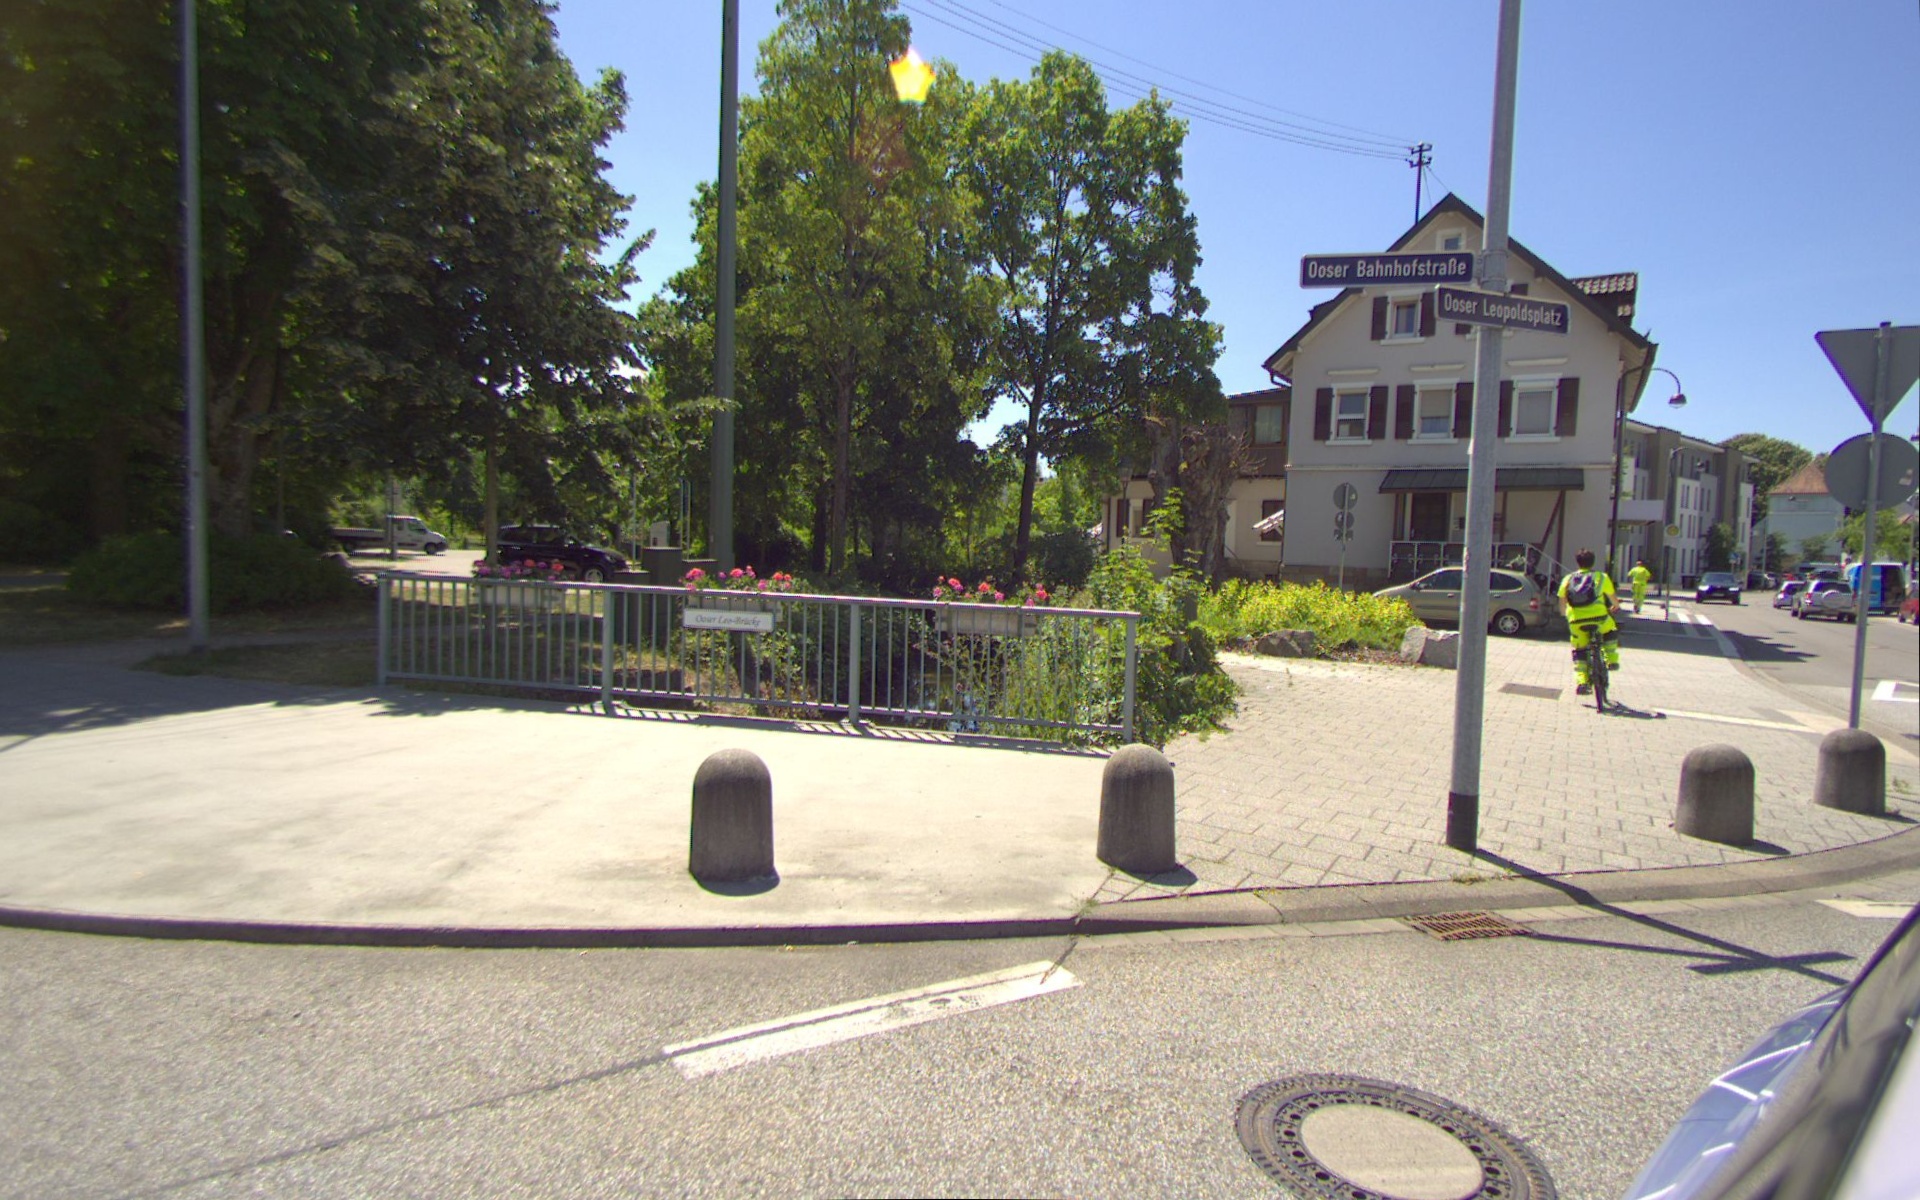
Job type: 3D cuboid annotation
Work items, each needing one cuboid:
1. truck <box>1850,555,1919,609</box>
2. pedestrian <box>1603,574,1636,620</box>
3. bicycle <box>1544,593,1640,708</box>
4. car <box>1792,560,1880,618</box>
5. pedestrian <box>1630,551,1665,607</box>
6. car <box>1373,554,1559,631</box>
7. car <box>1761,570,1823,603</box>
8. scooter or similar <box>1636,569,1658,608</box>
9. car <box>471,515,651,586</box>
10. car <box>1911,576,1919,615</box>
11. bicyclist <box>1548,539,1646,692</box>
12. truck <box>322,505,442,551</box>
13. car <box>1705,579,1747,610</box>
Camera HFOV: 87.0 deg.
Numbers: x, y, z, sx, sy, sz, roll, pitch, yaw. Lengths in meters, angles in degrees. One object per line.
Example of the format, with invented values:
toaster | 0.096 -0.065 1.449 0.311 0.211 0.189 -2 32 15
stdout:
truck | 43.164 -0.899 47.209 1.950 2.399 4.283 2 3 35
pedestrian | 19.297 -0.097 29.621 0.679 1.301 0.575 4 3 29
bicycle | 7.519 0.546 12.015 0.805 1.169 1.830 6 4 33
car | 35.981 -0.511 41.697 1.918 2.132 4.400 6 5 32
pedestrian | 25.838 -0.802 38.053 0.914 2.054 0.890 4 4 32
car | 12.826 -0.239 25.728 3.975 1.615 1.773 5 4 34
car | 42.350 -0.717 51.580 1.669 1.475 3.559 5 5 29
scooter or similar | 25.812 -0.451 38.040 0.523 1.389 1.332 4 4 31
car | -10.256 -1.292 26.223 3.923 1.620 1.844 2 3 -1
car | 39.321 -0.132 40.215 1.673 1.565 3.549 2 3 35
bicyclist | 7.495 0.156 11.906 0.806 1.654 1.050 6 4 34
truck | -34.395 -4.240 60.422 6.092 2.473 2.268 0 1 -29
car | 42.212 -0.318 55.789 1.745 1.565 3.546 2 3 37
